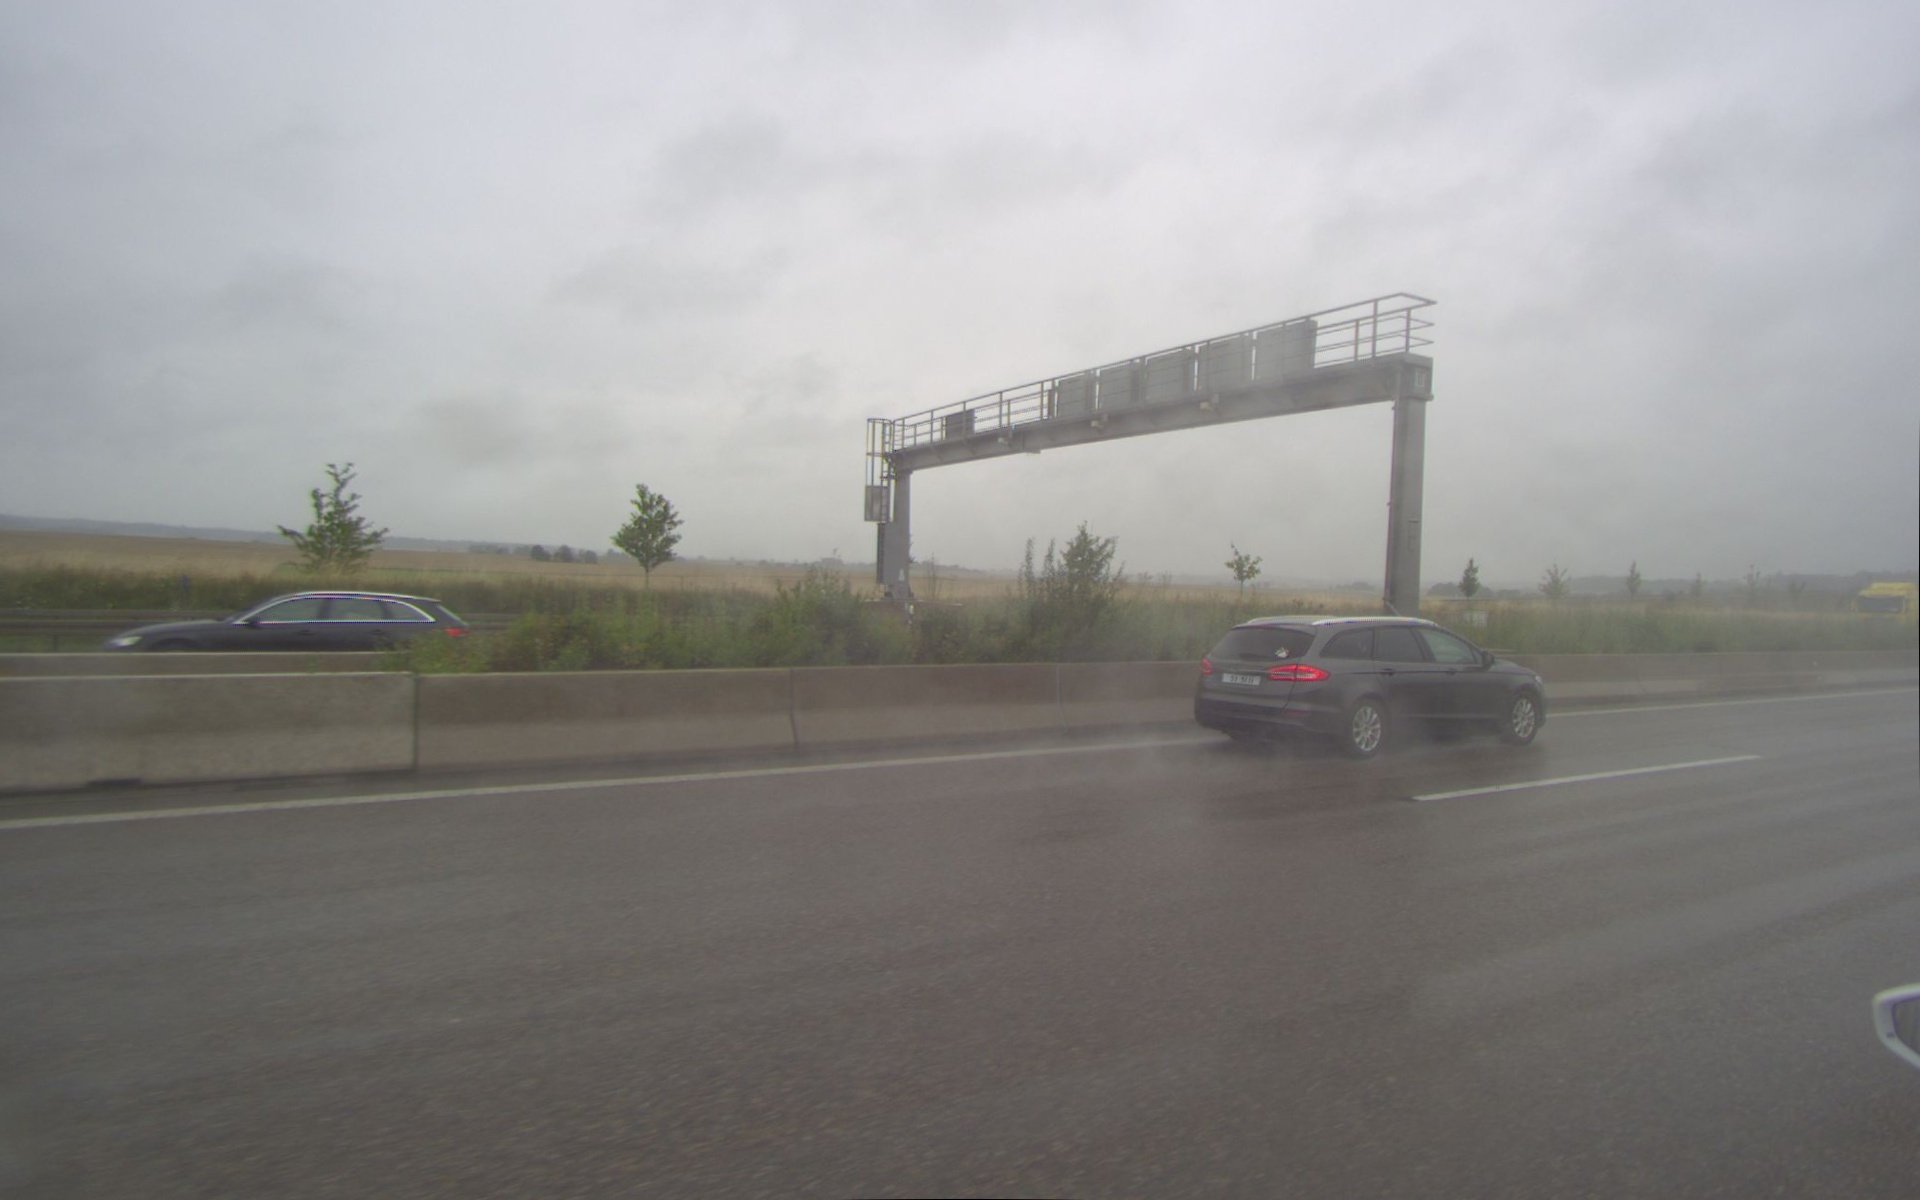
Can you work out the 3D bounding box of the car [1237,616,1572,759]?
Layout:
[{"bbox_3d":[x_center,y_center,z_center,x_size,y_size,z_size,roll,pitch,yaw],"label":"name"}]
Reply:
[{"bbox_3d":[5.199,0.906,11.614,3.955,1.372,1.604,1,0,-32],"label":"car"}]

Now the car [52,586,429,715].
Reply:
[{"bbox_3d":[-10.603,0.705,15.272,4.393,1.706,1.983,1,0,-31],"label":"car"}]

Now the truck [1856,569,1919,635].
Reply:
[{"bbox_3d":[58.741,0.180,63.377,4.765,4.044,1.999,1,0,-31],"label":"truck"}]
